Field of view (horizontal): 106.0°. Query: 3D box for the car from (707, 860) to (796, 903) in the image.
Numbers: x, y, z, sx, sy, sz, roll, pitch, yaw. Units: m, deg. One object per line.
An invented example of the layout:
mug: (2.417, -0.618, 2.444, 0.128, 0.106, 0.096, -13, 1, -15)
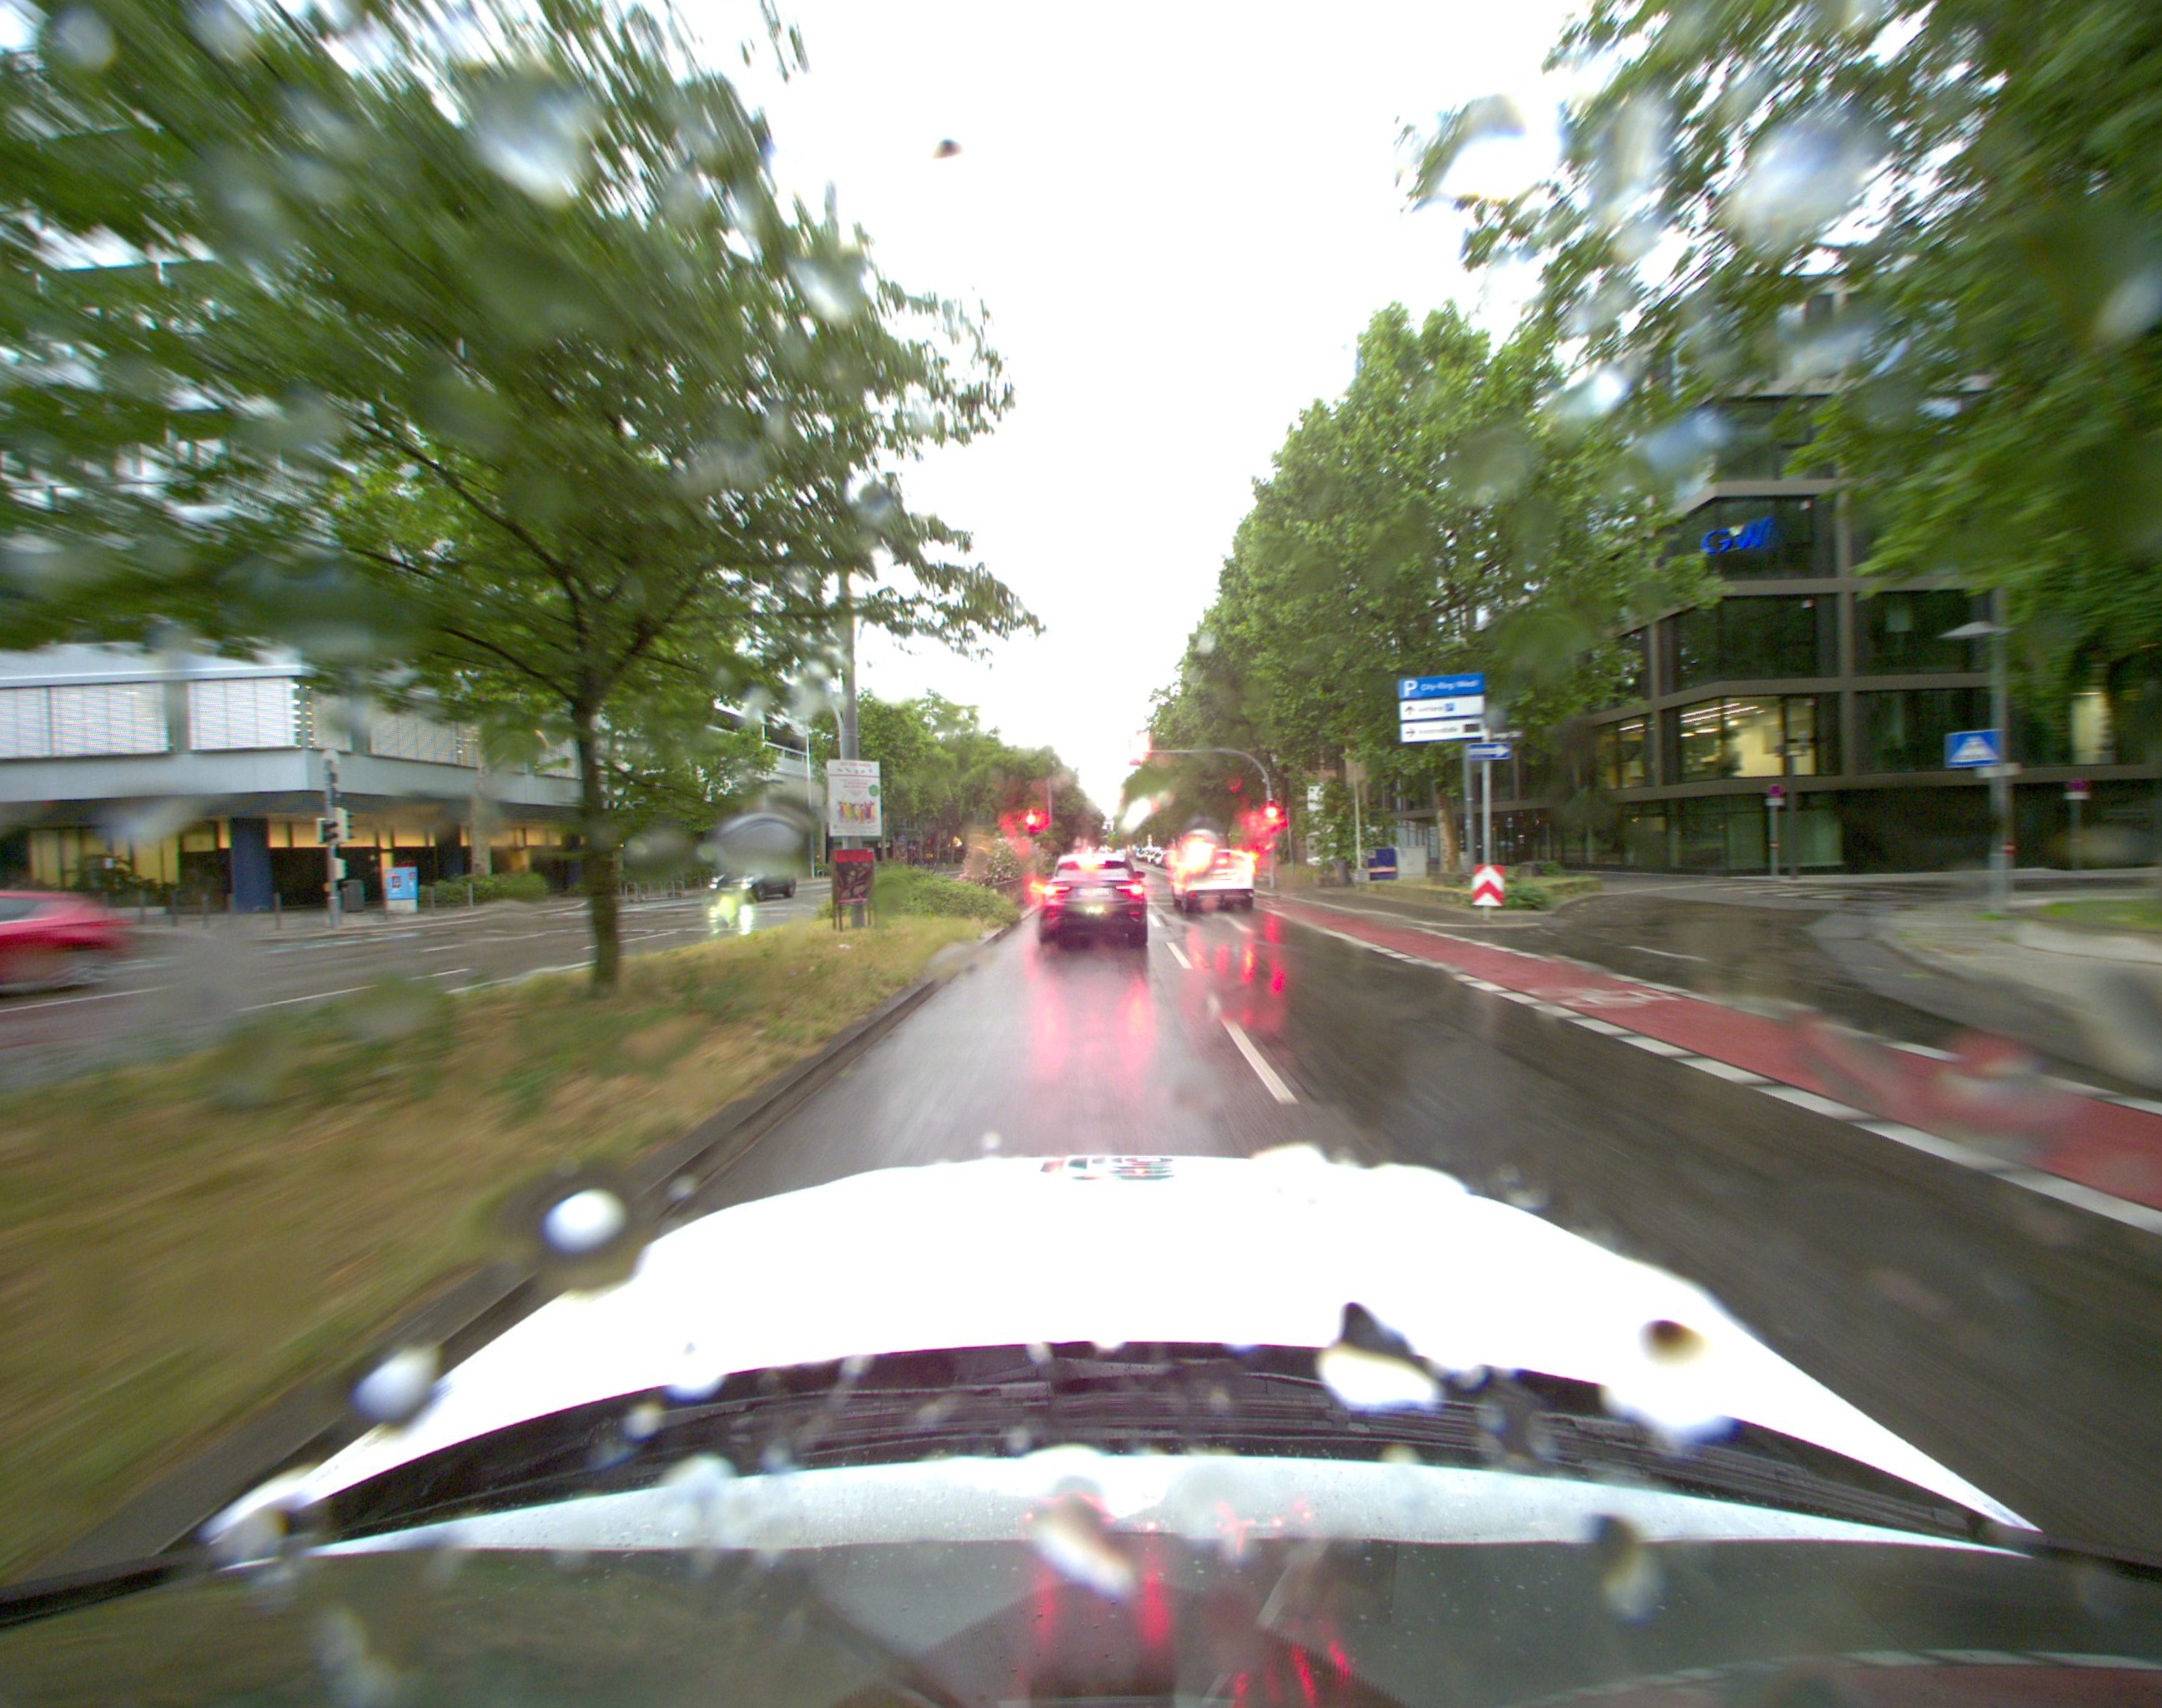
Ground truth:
car: (-13.580, 1.096, 33.828, 1.823, 1.552, 4.191, -2, 0, 2)

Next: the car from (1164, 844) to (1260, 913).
car: (3.544, 0.585, 22.927, 1.986, 1.655, 4.890, -2, 1, 1)

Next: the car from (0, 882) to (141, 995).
car: (-14.895, 1.167, 10.054, 1.608, 1.394, 4.185, -2, 1, 1)

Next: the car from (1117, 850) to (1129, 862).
car: (6.382, 0.283, 122.976, 1.614, 1.666, 4.001, -2, 0, 1)

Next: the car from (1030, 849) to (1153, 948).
car: (0.217, 0.691, 14.896, 1.911, 1.491, 4.001, -2, 1, 1)
